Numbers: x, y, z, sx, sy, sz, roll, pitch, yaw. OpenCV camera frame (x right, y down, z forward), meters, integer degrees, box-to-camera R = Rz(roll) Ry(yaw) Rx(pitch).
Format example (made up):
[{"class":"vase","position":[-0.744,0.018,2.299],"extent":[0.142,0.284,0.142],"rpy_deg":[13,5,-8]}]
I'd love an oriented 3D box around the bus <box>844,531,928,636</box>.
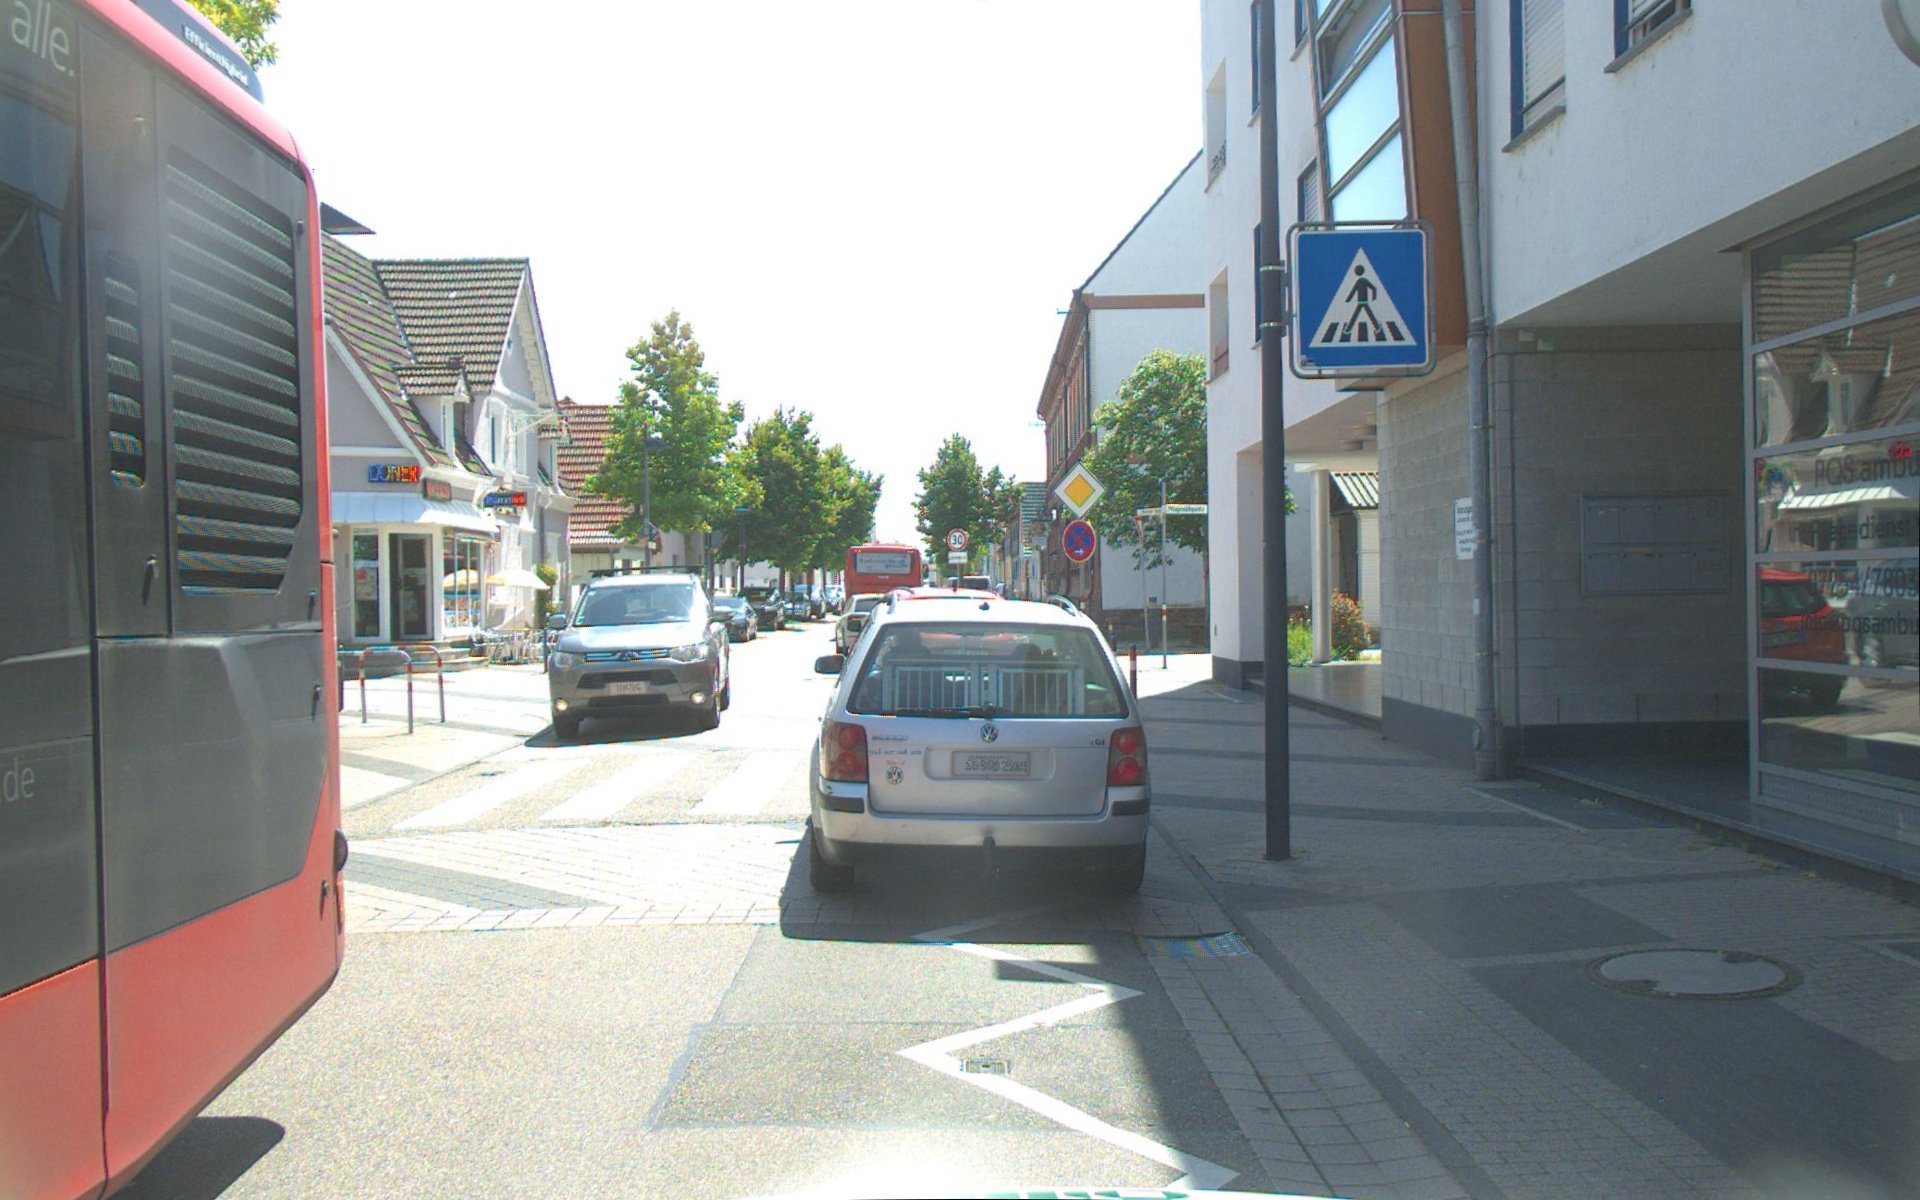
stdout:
[{"class":"bus","position":[-2.529,-0.548,59.627],"extent":[2.684,3.356,12.701],"rpy_deg":[-1,0,-1]}]

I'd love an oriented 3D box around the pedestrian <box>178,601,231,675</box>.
[{"class":"pedestrian","position":[-13.821,0.689,30.262],"extent":[0.631,1.311,0.776],"rpy_deg":[1,0,-44]}]

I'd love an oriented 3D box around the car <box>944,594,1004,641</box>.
[{"class":"car","position":[0.408,0.504,50.406],"extent":[1.684,1.332,3.625],"rpy_deg":[-1,0,-1]}]

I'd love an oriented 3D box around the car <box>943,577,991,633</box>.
[{"class":"car","position":[0.257,0.182,65.642],"extent":[1.751,2.118,3.625],"rpy_deg":[-1,0,-1]}]

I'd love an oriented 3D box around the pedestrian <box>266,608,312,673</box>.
[{"class":"pedestrian","position":[-12.616,0.758,31.107],"extent":[0.610,1.199,0.696],"rpy_deg":[-1,0,-5]}]

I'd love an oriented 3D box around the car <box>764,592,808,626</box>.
[{"class":"car","position":[-8.514,0.430,81.278],"extent":[1.775,1.586,3.999],"rpy_deg":[-1,0,-1]}]

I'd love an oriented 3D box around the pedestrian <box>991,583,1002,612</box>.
[{"class":"pedestrian","position":[2.153,-0.161,98.447],"extent":[0.594,1.696,0.789],"rpy_deg":[-1,0,-3]}]

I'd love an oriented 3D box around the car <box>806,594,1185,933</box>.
[{"class":"car","position":[0.126,0.718,9.148],"extent":[1.643,1.455,3.679],"rpy_deg":[1,0,-1]}]

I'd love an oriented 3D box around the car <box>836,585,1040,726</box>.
[{"class":"car","position":[-0.352,0.571,19.189],"extent":[1.648,1.455,3.667],"rpy_deg":[0,0,-13]}]

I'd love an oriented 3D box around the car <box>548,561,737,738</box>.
[{"class":"car","position":[-3.493,0.490,18.863],"extent":[1.642,1.746,4.228],"rpy_deg":[-1,0,-5]}]

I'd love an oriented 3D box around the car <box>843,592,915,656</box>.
[{"class":"car","position":[-1.917,0.543,39.886],"extent":[1.561,1.455,3.679],"rpy_deg":[0,0,0]}]

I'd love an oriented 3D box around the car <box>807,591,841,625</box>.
[{"class":"car","position":[-8.243,0.473,100.546],"extent":[1.775,2.030,3.999],"rpy_deg":[-1,0,-1]}]

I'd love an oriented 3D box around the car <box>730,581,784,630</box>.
[{"class":"car","position":[-8.124,0.201,66.517],"extent":[1.729,1.870,3.788],"rpy_deg":[-1,0,-1]}]

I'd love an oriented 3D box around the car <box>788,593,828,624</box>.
[{"class":"car","position":[-8.055,0.437,87.970],"extent":[1.775,1.586,3.999],"rpy_deg":[-1,0,-1]}]

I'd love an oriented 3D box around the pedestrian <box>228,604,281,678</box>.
[{"class":"pedestrian","position":[-12.846,0.731,30.107],"extent":[0.631,1.311,0.776],"rpy_deg":[1,0,-44]}]

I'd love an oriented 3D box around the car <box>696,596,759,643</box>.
[{"class":"car","position":[-7.686,0.625,54.942],"extent":[1.572,1.463,4.064],"rpy_deg":[-1,0,-1]}]
